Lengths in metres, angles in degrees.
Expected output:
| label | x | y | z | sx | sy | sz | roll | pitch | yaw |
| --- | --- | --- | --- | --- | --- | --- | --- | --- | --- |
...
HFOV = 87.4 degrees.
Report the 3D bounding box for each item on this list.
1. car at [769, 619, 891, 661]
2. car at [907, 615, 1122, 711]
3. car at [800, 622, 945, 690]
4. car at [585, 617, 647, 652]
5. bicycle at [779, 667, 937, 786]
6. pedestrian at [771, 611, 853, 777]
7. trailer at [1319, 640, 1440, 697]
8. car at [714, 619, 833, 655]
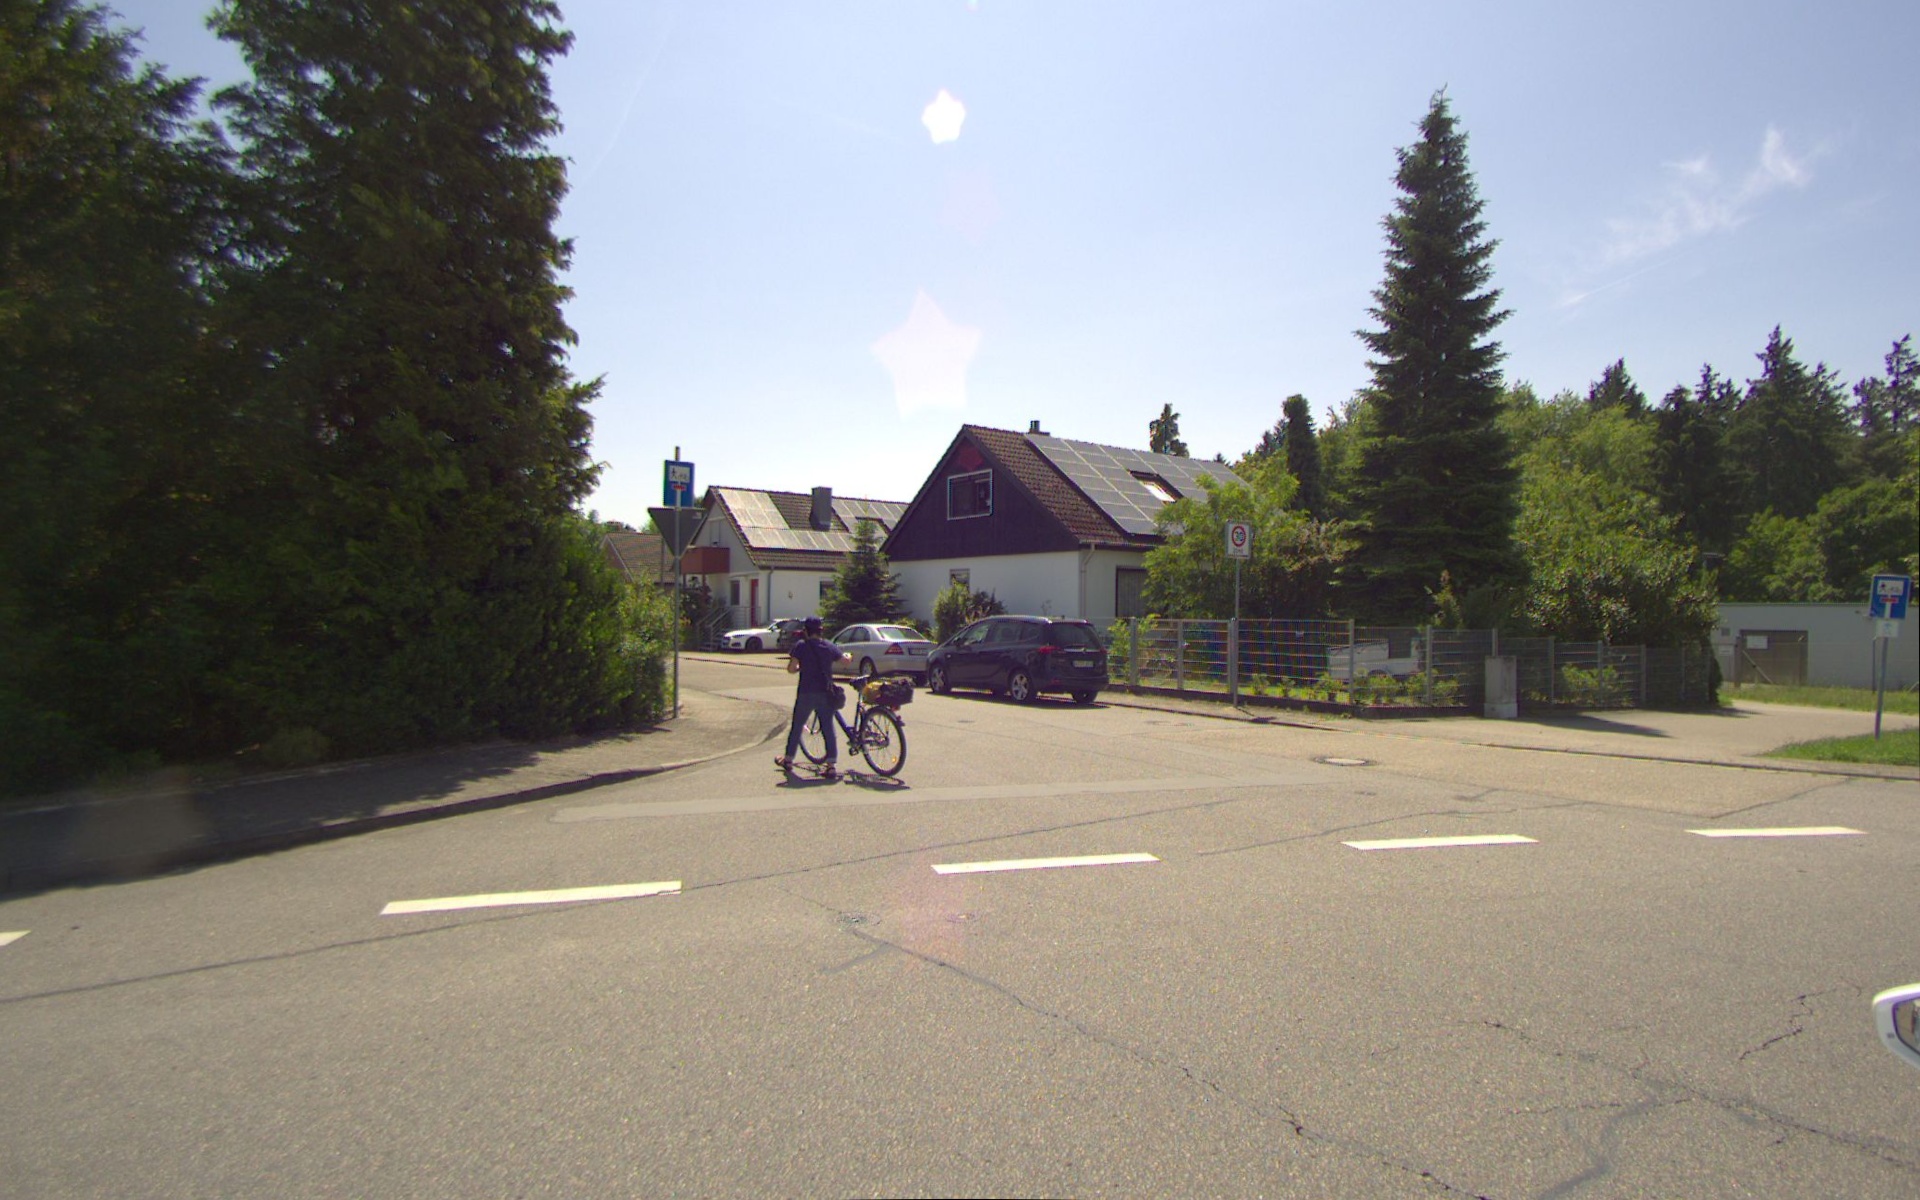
| label | x | y | z | sx | sy | sz | roll | pitch | yaw |
| --- | --- | --- | --- | --- | --- | --- | --- | --- | --- |
| car | -4.955 | 1.499 | 38.493 | 4.214 | 1.506 | 1.979 | 2 | -1 | -37 |
| car | 0.975 | 1.184 | 20.542 | 1.950 | 1.684 | 4.636 | 1 | -1 | -35 |
| car | -2.271 | 1.327 | 24.986 | 1.675 | 1.479 | 4.294 | 1 | -1 | -35 |
| car | -15.259 | 1.500 | 44.518 | 1.639 | 1.459 | 3.615 | 2 | -1 | -35 |
| bicycle | -1.035 | 1.193 | 9.838 | 1.822 | 0.976 | 0.441 | 0 | -1 | 43 |
| pedestrian | -1.422 | 0.876 | 9.654 | 0.603 | 1.520 | 0.501 | 0 | -1 | 43 |
| trailer | 9.139 | 1.464 | 21.947 | 1.099 | 1.098 | 2.193 | 1 | -1 | -44 |
| car | -7.766 | 1.557 | 42.015 | 4.506 | 1.415 | 1.933 | 2 | -1 | -35 |
